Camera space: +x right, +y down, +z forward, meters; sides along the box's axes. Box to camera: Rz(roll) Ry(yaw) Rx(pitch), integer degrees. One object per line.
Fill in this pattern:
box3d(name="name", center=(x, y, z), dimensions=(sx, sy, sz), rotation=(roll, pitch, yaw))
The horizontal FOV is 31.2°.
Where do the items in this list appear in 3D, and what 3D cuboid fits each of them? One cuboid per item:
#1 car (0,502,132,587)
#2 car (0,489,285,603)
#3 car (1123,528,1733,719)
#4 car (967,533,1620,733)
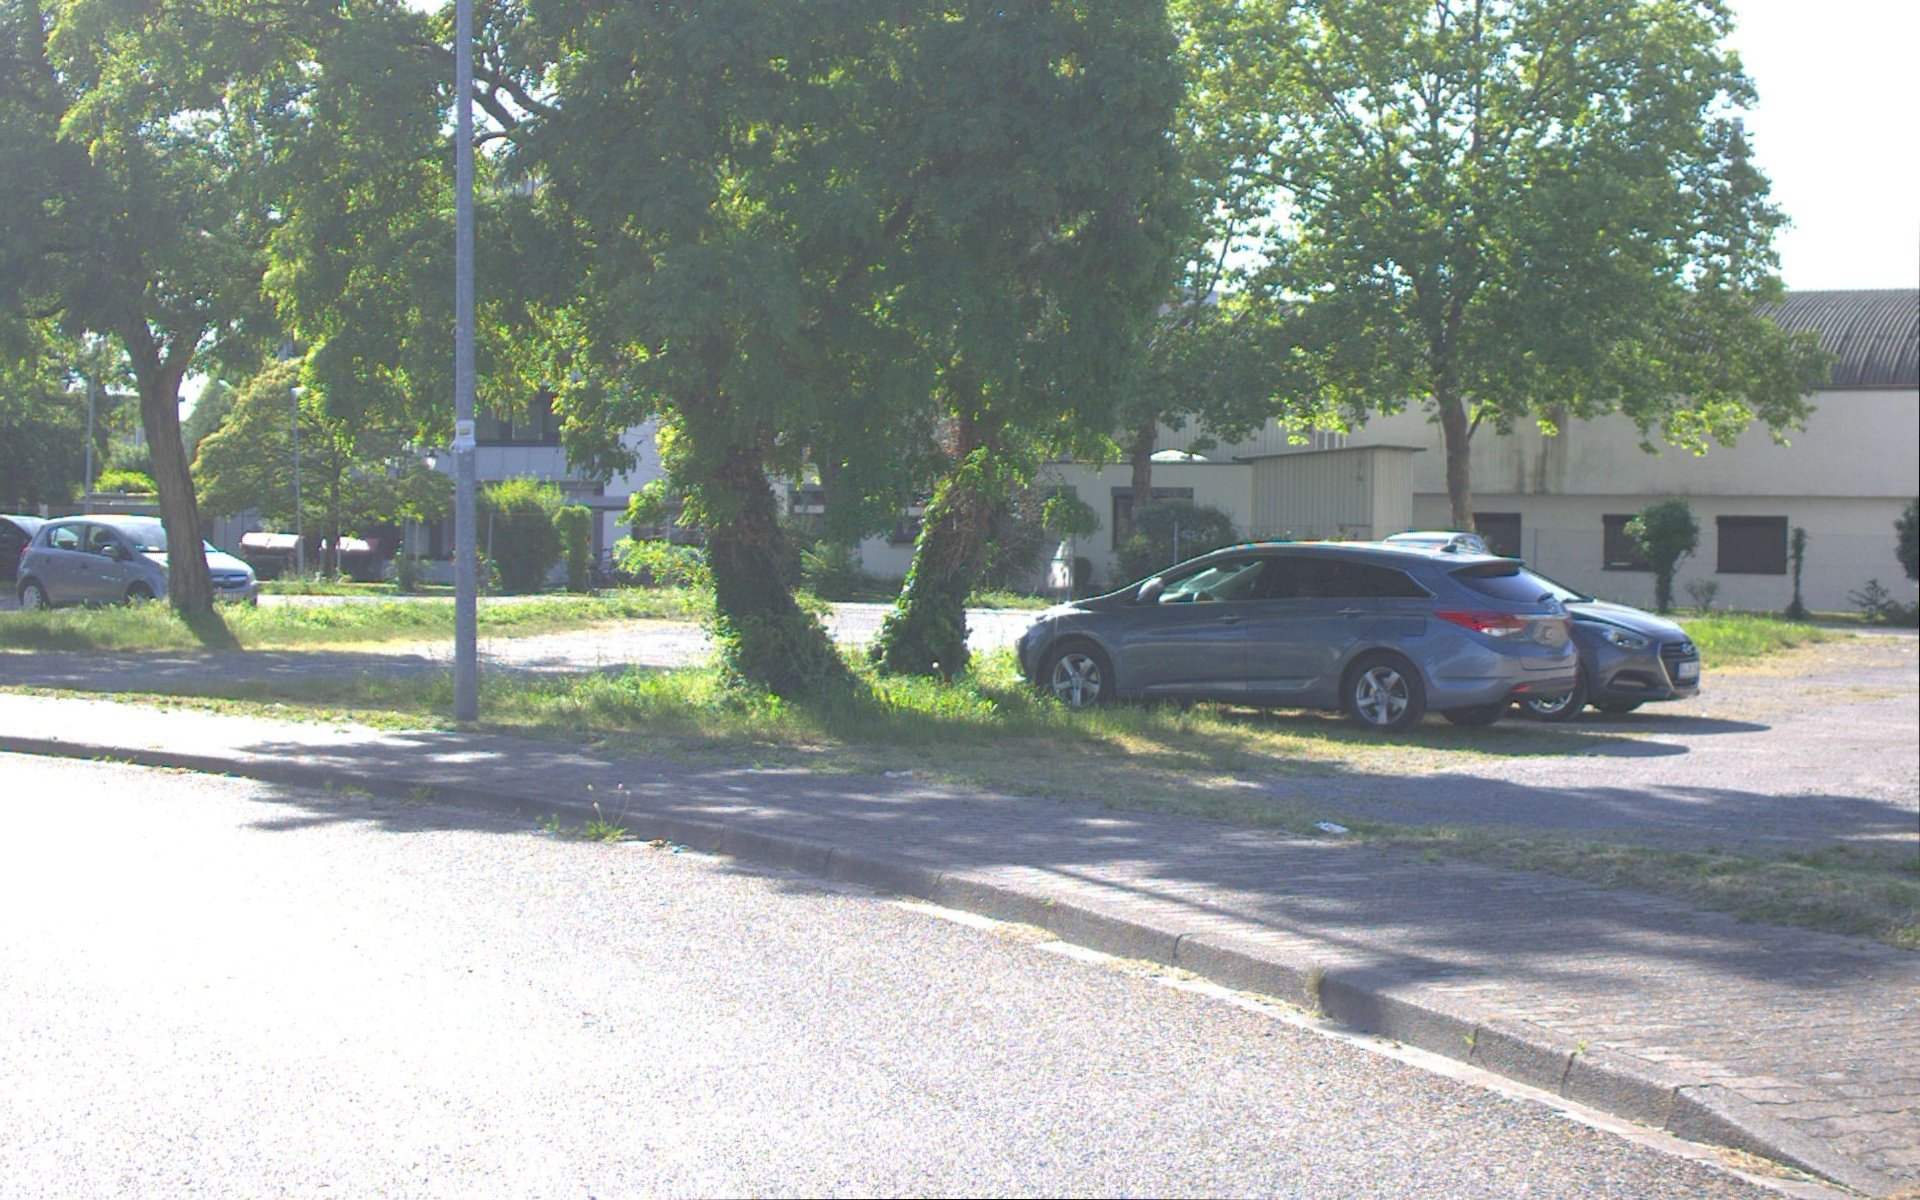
box3d(name="car", center=(-17.465, -1.045, 63.209), dimensions=(4.923, 1.479, 1.995), rotation=(2, 2, 43))
box3d(name="car", center=(-11.711, -0.786, 47.957), dimensions=(4.923, 1.479, 1.995), rotation=(2, 2, 43))
box3d(name="car", center=(4.075, 0.152, 30.267), dimensions=(4.919, 1.479, 1.996), rotation=(2, 2, 32))
box3d(name="car", center=(2.677, 0.209, 28.077), dimensions=(4.919, 1.421, 1.996), rotation=(2, 2, 32))
